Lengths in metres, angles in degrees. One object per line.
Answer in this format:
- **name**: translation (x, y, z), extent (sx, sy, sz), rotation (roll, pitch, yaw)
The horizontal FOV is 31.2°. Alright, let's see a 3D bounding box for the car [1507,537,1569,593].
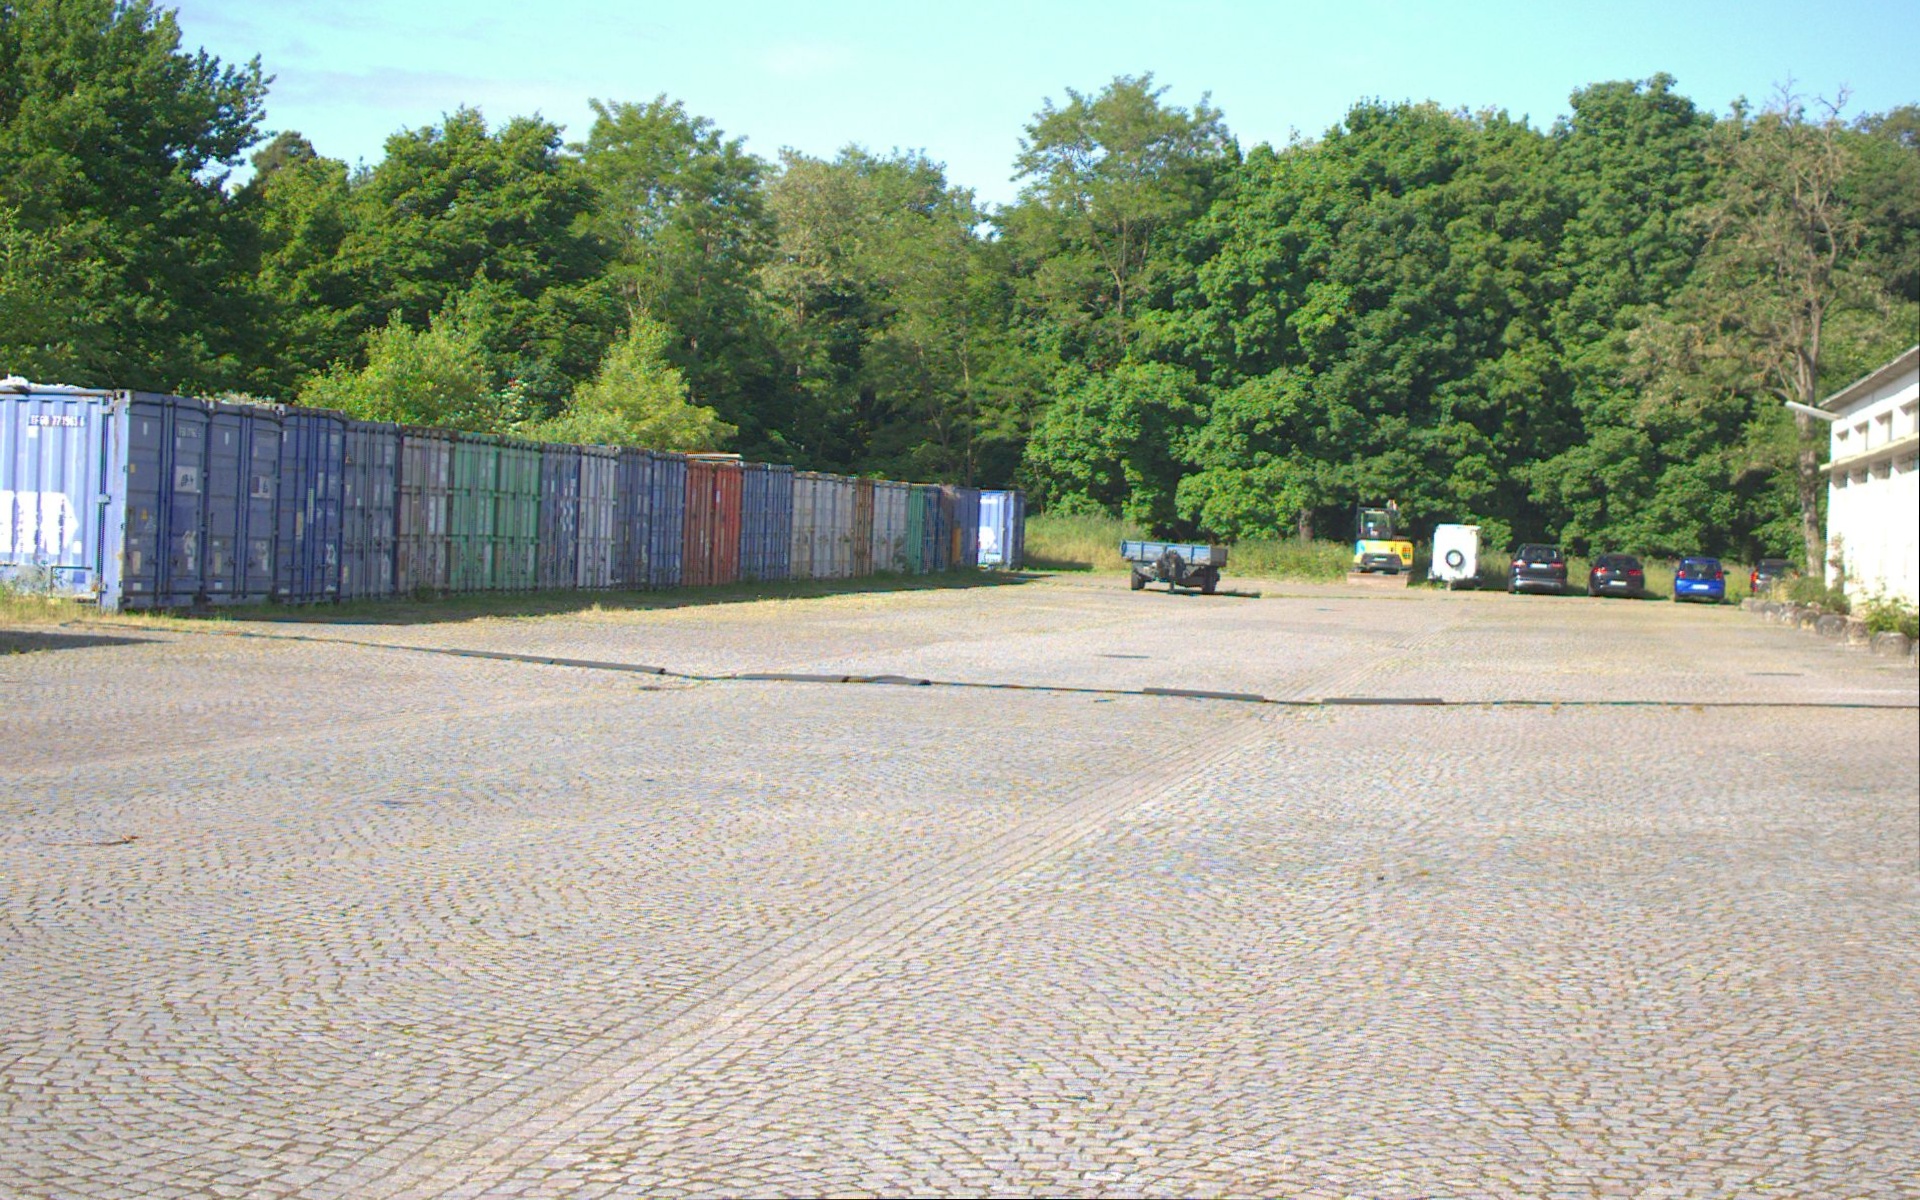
- **car**: translation (18.790, -1.164, 111.705), extent (1.864, 1.583, 4.294), rotation (3, 3, 10)

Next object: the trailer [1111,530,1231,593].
- **trailer**: translation (5.945, -1.101, 96.082), extent (2.706, 1.460, 6.246), rotation (3, 3, 9)

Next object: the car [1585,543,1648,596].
- **car**: translation (21.301, -1.012, 111.614), extent (1.864, 1.465, 4.294), rotation (3, 3, 10)

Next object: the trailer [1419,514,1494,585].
- **trailer**: translation (16.561, -1.705, 114.529), extent (2.194, 2.087, 5.749), rotation (3, 3, 10)

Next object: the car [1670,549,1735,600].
- **car**: translation (24.009, -0.839, 111.051), extent (1.745, 1.431, 4.180), rotation (4, 3, 15)

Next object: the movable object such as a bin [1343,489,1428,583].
- **movable object such as a bin**: translation (14.338, -2.201, 115.536), extent (2.307, 2.886, 5.749), rotation (3, 3, 11)

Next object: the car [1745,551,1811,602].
- **car**: translation (26.667, -0.792, 111.989), extent (1.746, 1.431, 4.180), rotation (4, 3, 17)
